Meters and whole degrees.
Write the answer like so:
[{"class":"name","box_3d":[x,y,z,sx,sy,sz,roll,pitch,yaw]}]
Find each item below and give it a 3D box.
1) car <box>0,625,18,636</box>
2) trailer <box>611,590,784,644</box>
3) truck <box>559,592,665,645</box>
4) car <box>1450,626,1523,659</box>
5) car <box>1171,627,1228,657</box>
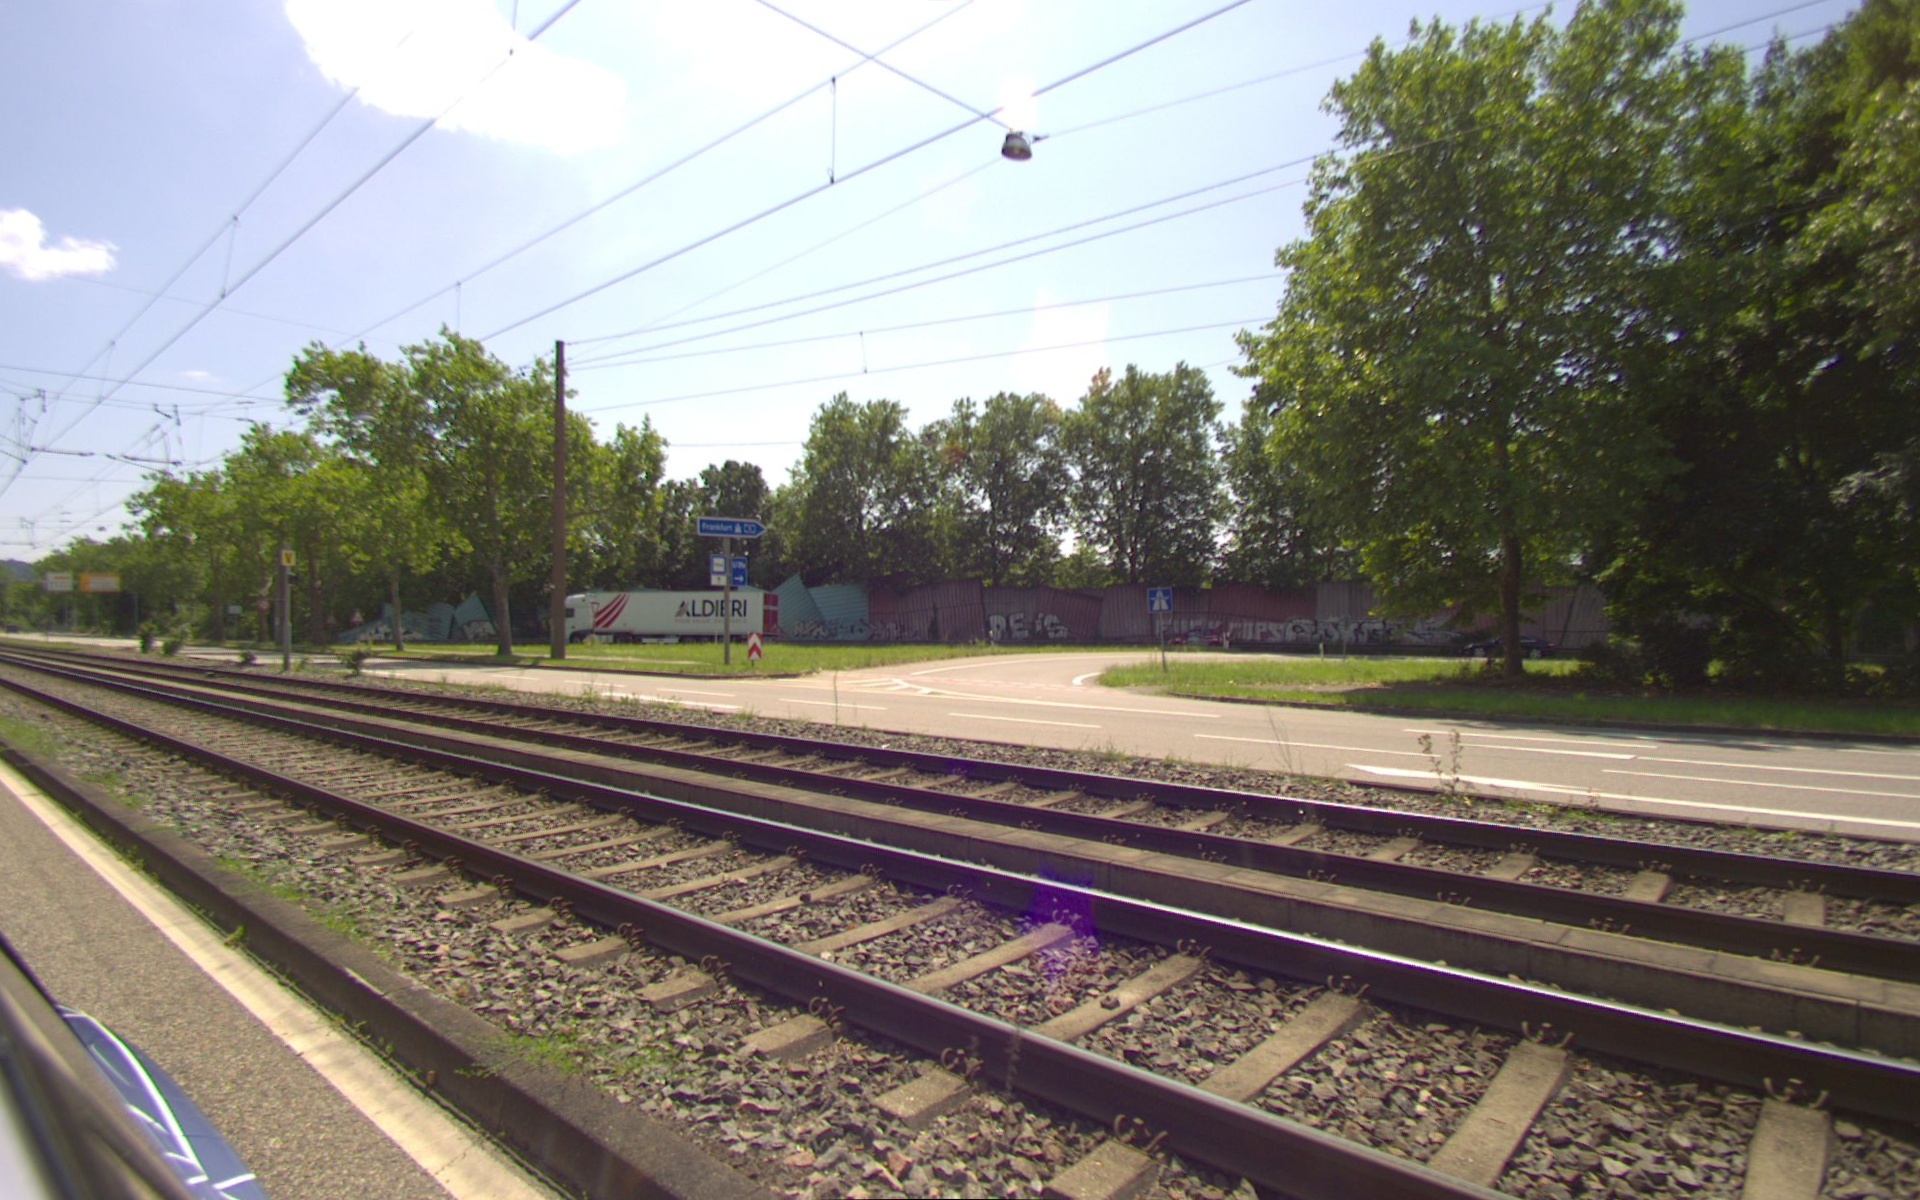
[{"class":"car","box_3d":[-176.646,5.649,188.004,3.998,1.807,1.973,-1,0,41]},{"class":"trailer","box_3d":[-18.847,1.267,72.605,12.001,3.683,3.371,-1,-1,16]},{"class":"truck","box_3d":[-25.615,1.385,74.551,6.698,3.730,3.401,-1,-1,16]},{"class":"car","box_3d":[29.865,2.384,57.507,3.369,1.805,1.557,-1,-2,16]},{"class":"car","box_3d":[14.668,2.576,61.942,3.369,1.805,1.557,-1,-2,16]}]
